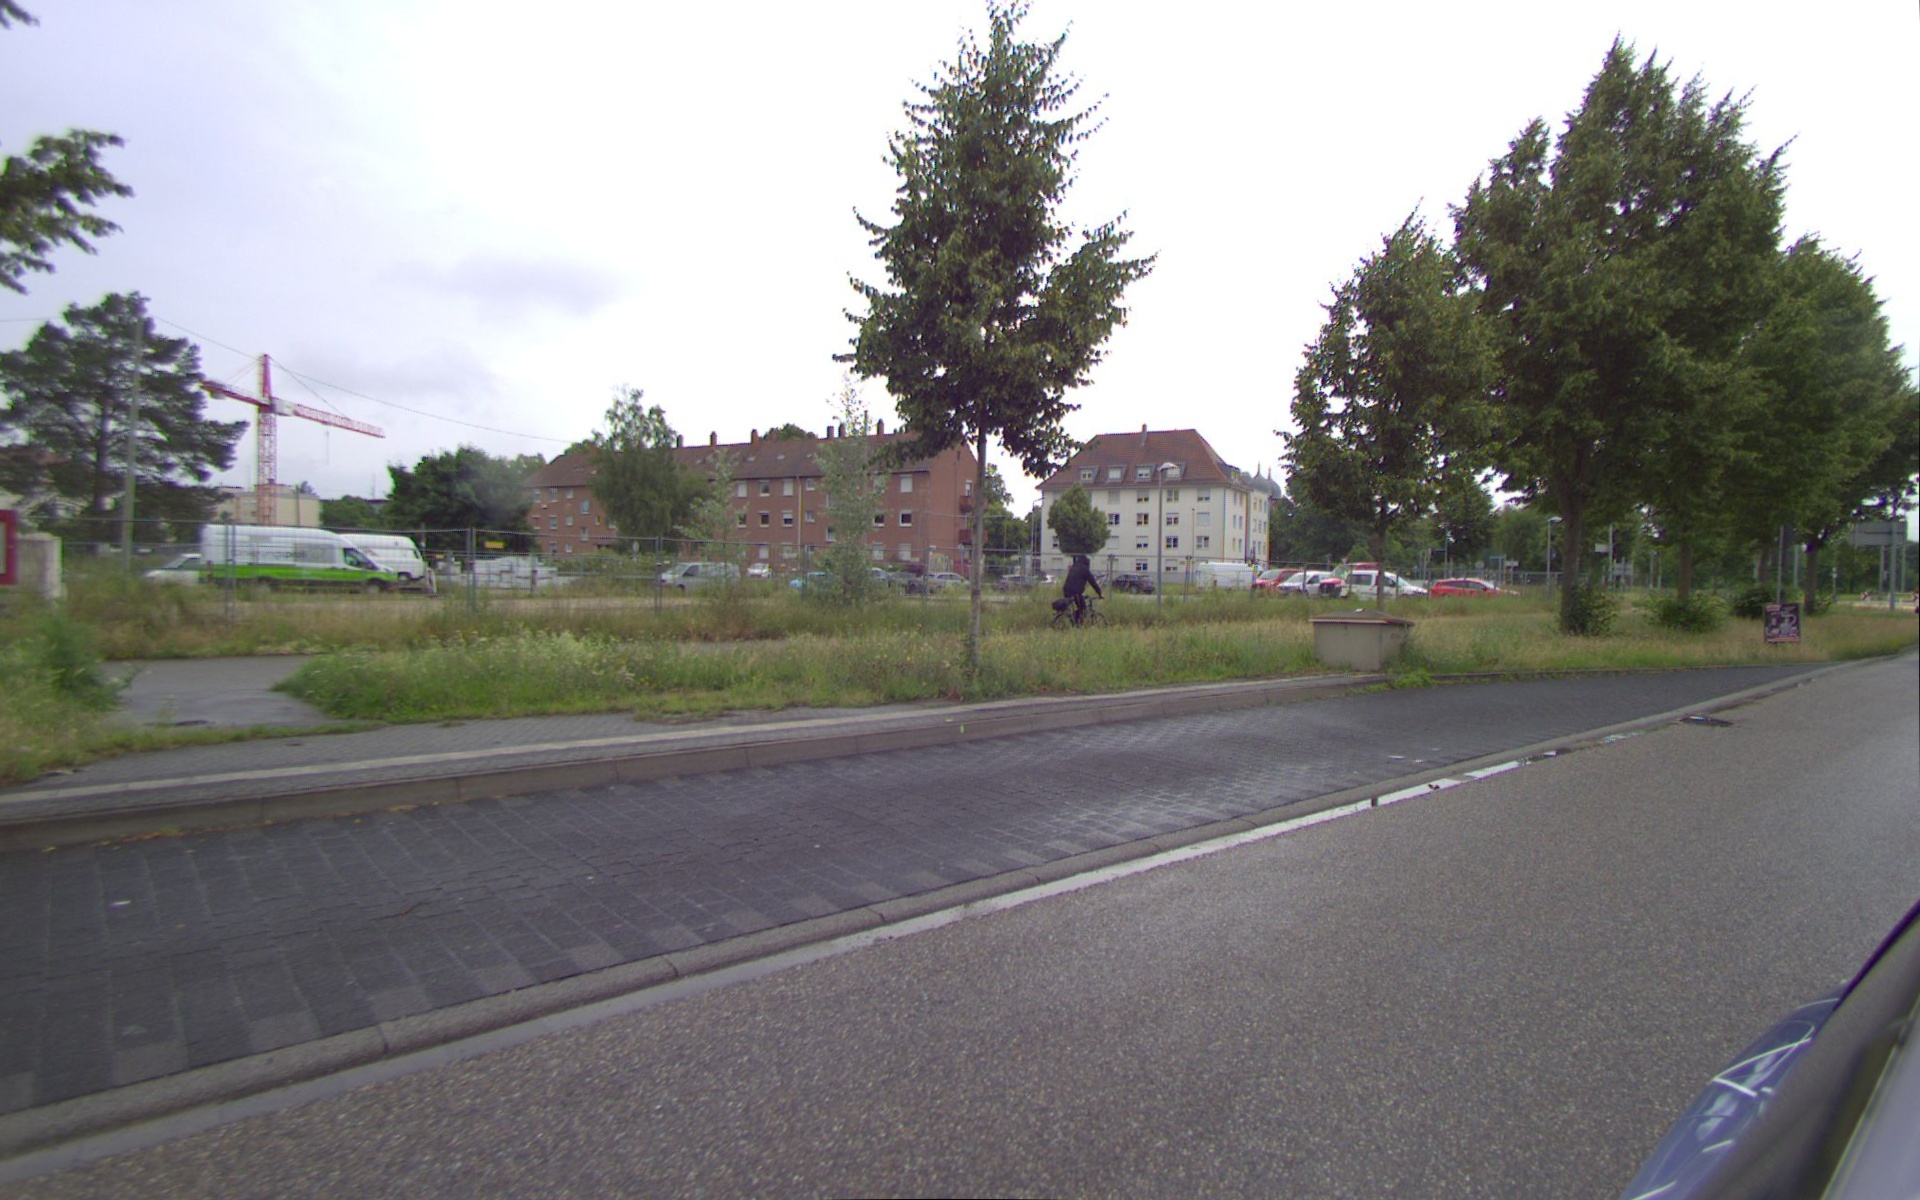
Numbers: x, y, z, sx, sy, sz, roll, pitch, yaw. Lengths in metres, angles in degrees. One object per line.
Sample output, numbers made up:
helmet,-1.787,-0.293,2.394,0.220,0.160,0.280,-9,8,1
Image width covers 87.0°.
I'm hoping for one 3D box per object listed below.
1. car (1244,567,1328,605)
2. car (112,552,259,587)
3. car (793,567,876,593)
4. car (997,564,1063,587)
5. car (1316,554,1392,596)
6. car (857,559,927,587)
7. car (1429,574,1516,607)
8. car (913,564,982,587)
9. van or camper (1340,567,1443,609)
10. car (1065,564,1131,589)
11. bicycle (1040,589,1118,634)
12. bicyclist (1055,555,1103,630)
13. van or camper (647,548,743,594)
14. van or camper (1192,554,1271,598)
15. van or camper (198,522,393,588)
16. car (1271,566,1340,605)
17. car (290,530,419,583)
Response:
car,20.972,-0.896,64.984,5.339,2.339,2.200,0,1,-32
car,-32.049,-1.257,41.960,4.682,1.369,2.092,-1,2,-44
car,-7.078,-1.104,57.290,1.992,1.404,4.499,0,0,41
car,4.614,-1.602,67.089,3.916,1.471,2.004,0,0,-14
car,22.936,-1.422,58.874,3.918,2.339,2.003,0,1,-28
car,-4.045,-1.580,60.375,1.992,1.538,3.940,0,0,42
car,27.267,-0.502,53.945,1.648,1.727,3.805,0,0,-37
car,-0.773,-1.541,63.984,3.920,1.390,2.002,0,0,-31
van or camper,21.394,-0.618,50.285,4.322,2.039,1.832,1,1,44
car,9.274,-1.570,68.047,3.916,1.571,2.004,0,0,-14
bicycle,2.491,0.227,21.097,1.713,0.889,0.548,0,1,-38
bicyclist,2.477,-0.155,21.079,0.825,1.524,0.537,0,1,-38
van or camper,-15.249,-1.628,58.392,1.912,2.567,5.181,1,1,42
van or camper,19.468,-1.686,72.576,5.400,3.073,2.349,0,0,-30
van or camper,-25.569,-1.660,39.147,6.045,2.336,2.205,0,1,-43
car,21.152,-0.889,61.941,3.921,2.339,2.001,0,1,-32
car,-27.700,-1.947,46.382,4.682,2.247,2.273,0,1,-44
